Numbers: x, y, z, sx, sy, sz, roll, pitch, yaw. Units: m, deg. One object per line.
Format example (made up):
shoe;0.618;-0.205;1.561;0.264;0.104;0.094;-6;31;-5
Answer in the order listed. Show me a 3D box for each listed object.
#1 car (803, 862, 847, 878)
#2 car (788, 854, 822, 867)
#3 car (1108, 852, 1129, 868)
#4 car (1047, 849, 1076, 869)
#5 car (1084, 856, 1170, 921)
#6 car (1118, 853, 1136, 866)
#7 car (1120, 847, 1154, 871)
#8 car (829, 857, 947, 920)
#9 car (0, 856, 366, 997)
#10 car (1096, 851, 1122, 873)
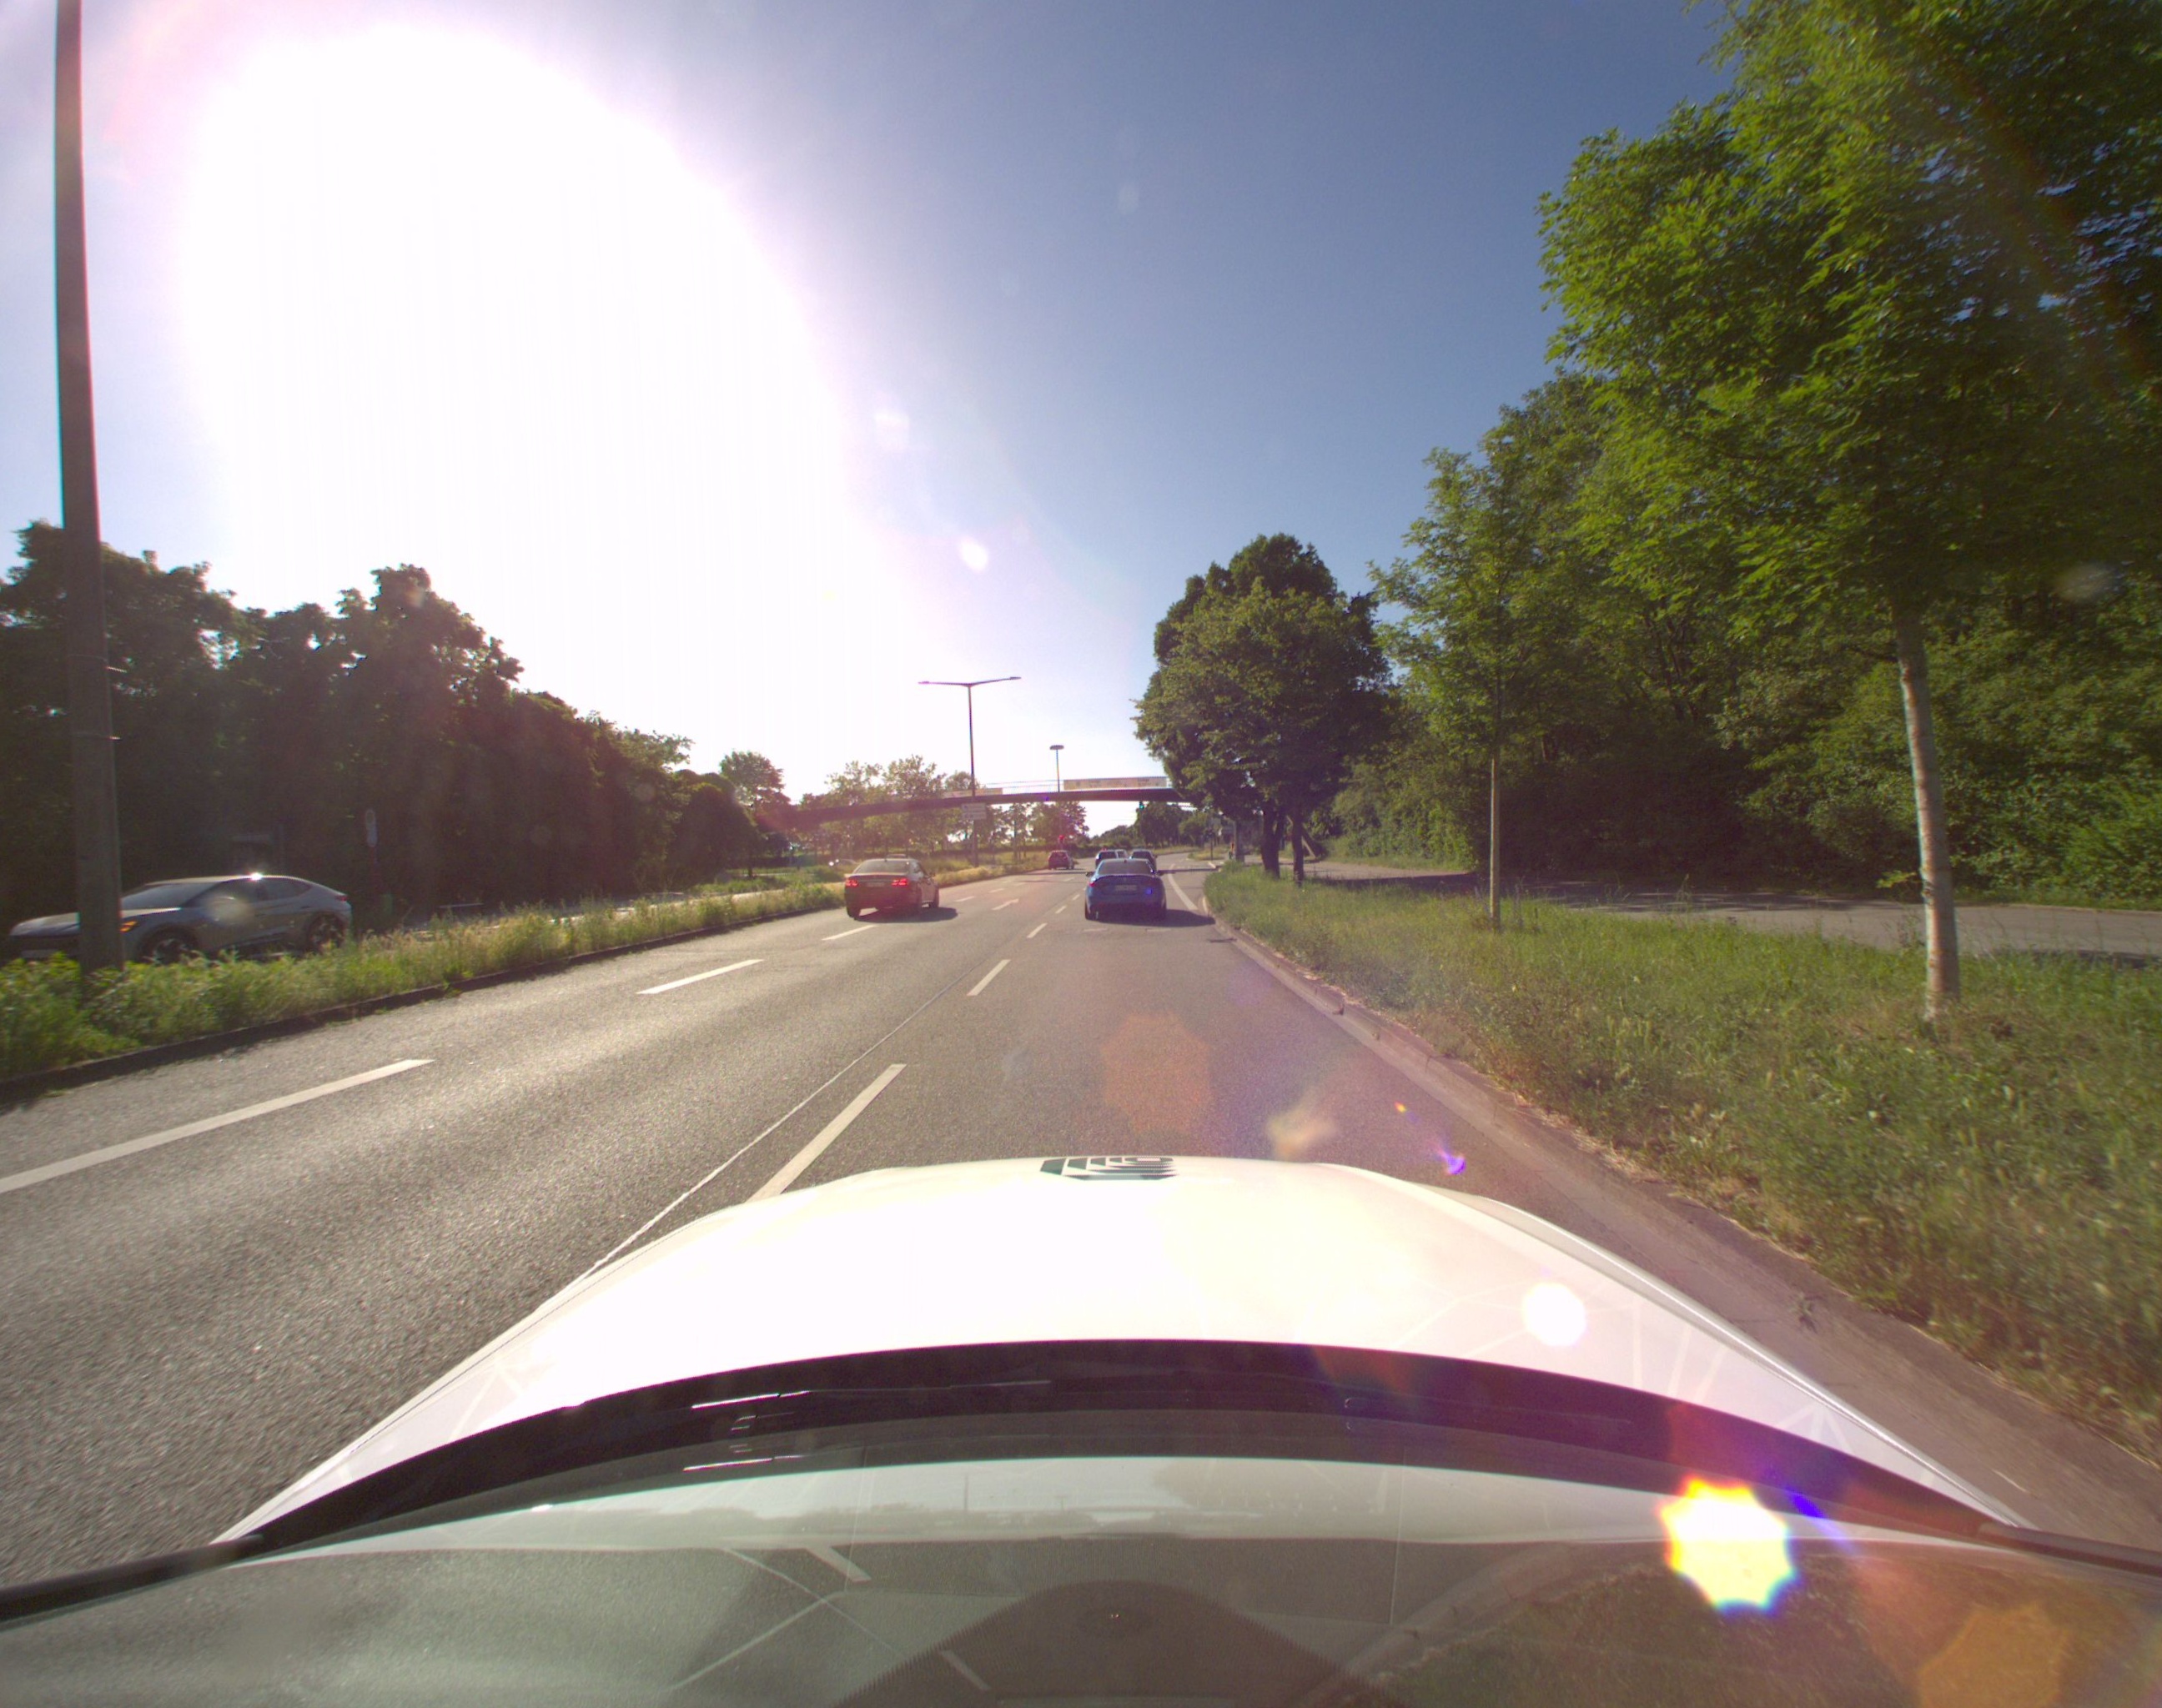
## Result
car;-28.284;1.796;89.935;4.270;1.650;2.010;-2;-1;20
car;-45.286;1.012;133.748;4.766;2.014;2.001;-1;-1;2
car;3.665;0.591;80.125;1.877;1.454;4.525;-1;0;0
car;-1.599;0.434;68.157;1.787;1.555;3.739;-2;-1;9
car;1.027;0.782;20.153;1.877;1.406;4.223;-1;-1;0
car;5.477;0.626;96.803;1.877;1.454;4.525;-1;0;0
car;3.607;0.329;53.111;1.877;1.454;4.525;-1;0;0
car;-5.113;0.850;22.331;1.952;1.483;4.919;-2;0;1
car;-15.390;1.077;14.173;1.989;2.014;4.576;-1;-1;-3
car;2.127;0.615;63.134;1.704;1.598;4.220;-1;-1;-2
